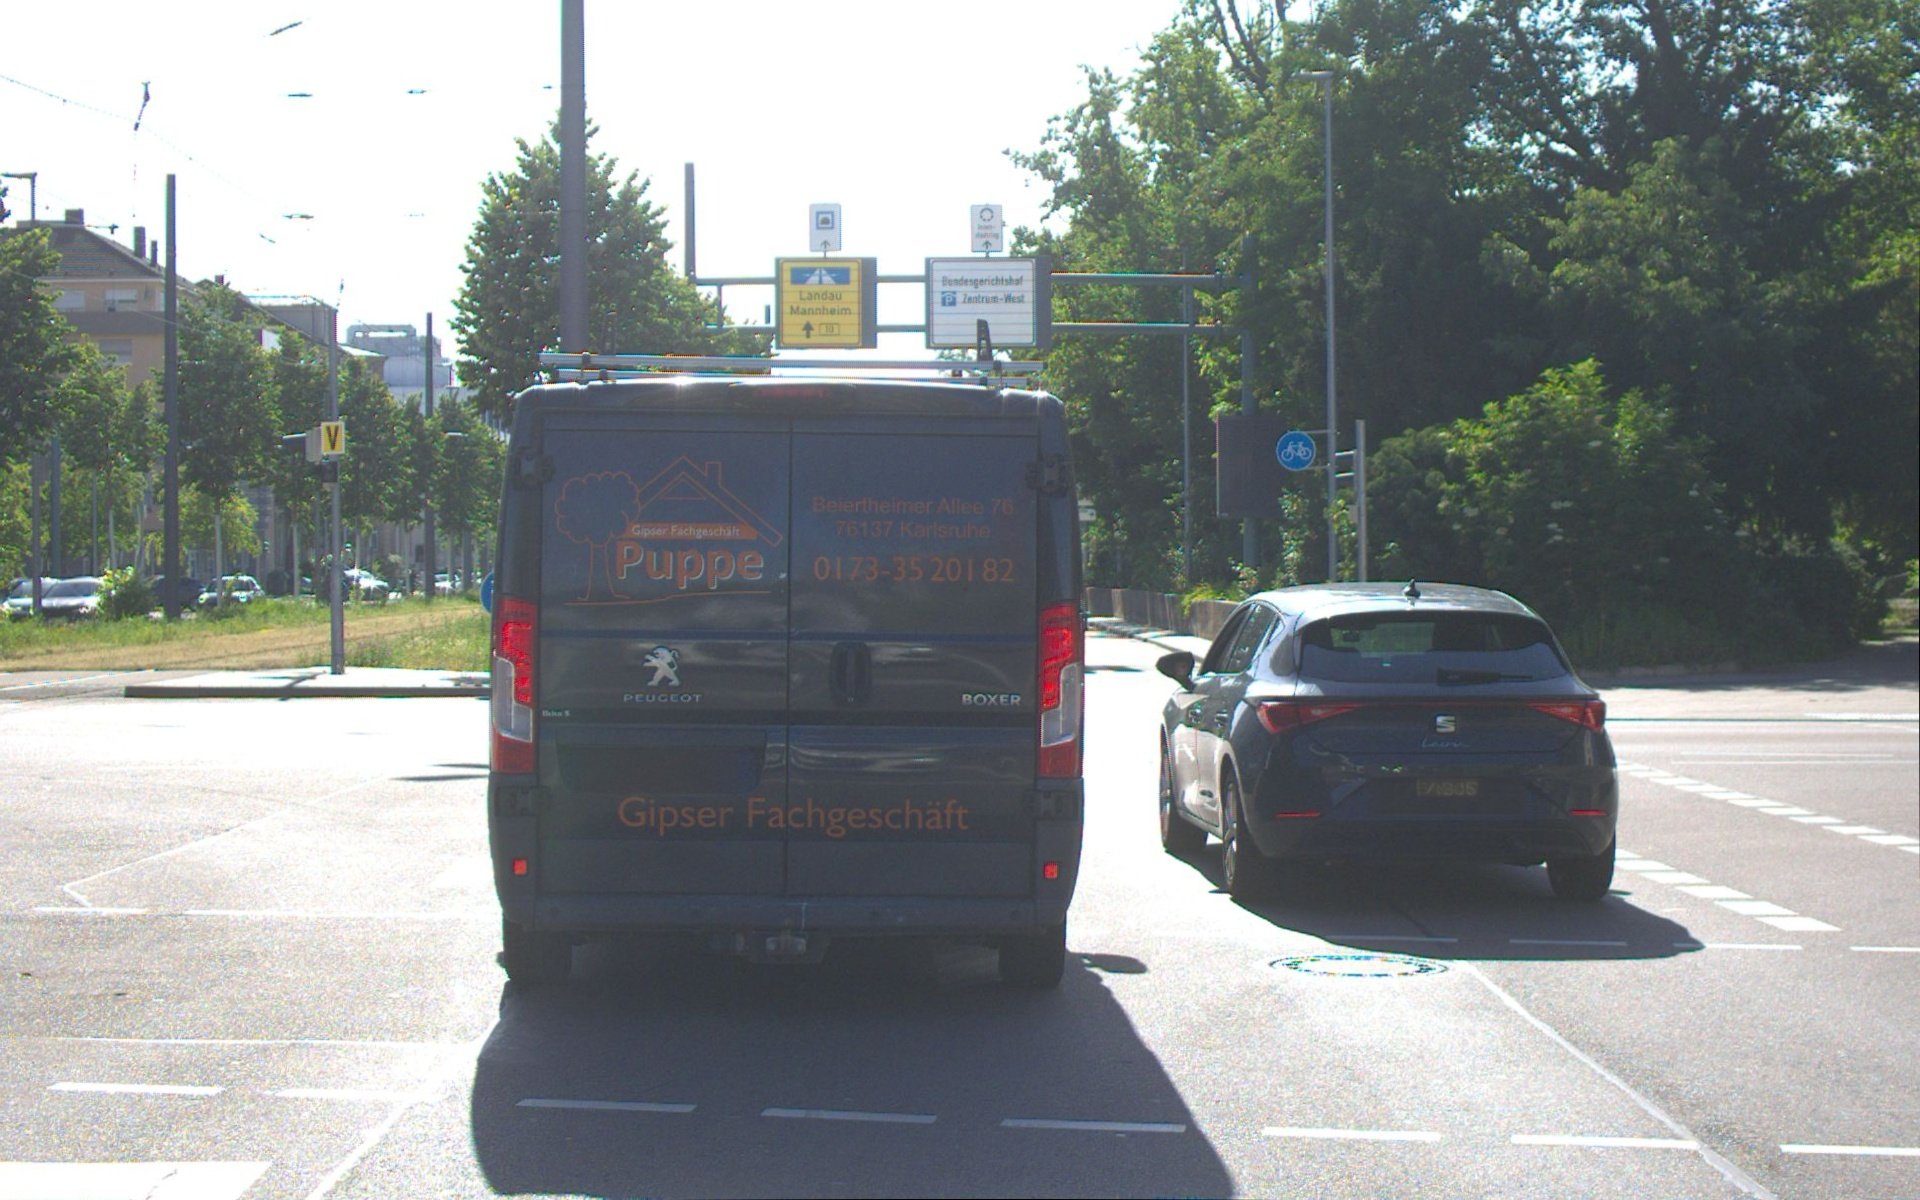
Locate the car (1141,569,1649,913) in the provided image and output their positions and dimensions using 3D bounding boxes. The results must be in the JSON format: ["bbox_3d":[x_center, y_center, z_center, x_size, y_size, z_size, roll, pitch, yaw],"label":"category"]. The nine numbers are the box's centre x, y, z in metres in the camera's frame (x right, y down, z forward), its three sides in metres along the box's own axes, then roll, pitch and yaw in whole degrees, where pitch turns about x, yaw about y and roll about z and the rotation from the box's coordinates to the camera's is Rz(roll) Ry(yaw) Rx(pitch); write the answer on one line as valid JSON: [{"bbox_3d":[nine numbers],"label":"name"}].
[{"bbox_3d":[1.986,0.595,16.852,1.763,1.457,4.001,1,1,-3],"label":"car"}]

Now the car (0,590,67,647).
[{"bbox_3d":[-27.301,0.519,99.188,1.993,1.547,4.000,1,1,1],"label":"car"}]

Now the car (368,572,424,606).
[{"bbox_3d":[-26.519,-0.514,161.792,1.993,1.547,4.000,1,1,0],"label":"car"}]

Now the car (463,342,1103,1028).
[{"bbox_3d":[-0.643,0.264,13.357,2.082,2.241,4.000,1,1,-2],"label":"car"}]

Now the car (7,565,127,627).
[{"bbox_3d":[-22.940,-0.124,88.459,1.993,1.547,4.000,1,1,1],"label":"car"}]

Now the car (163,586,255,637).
[{"bbox_3d":[-23.889,0.354,109.478,1.993,1.547,4.000,1,1,1],"label":"car"}]
